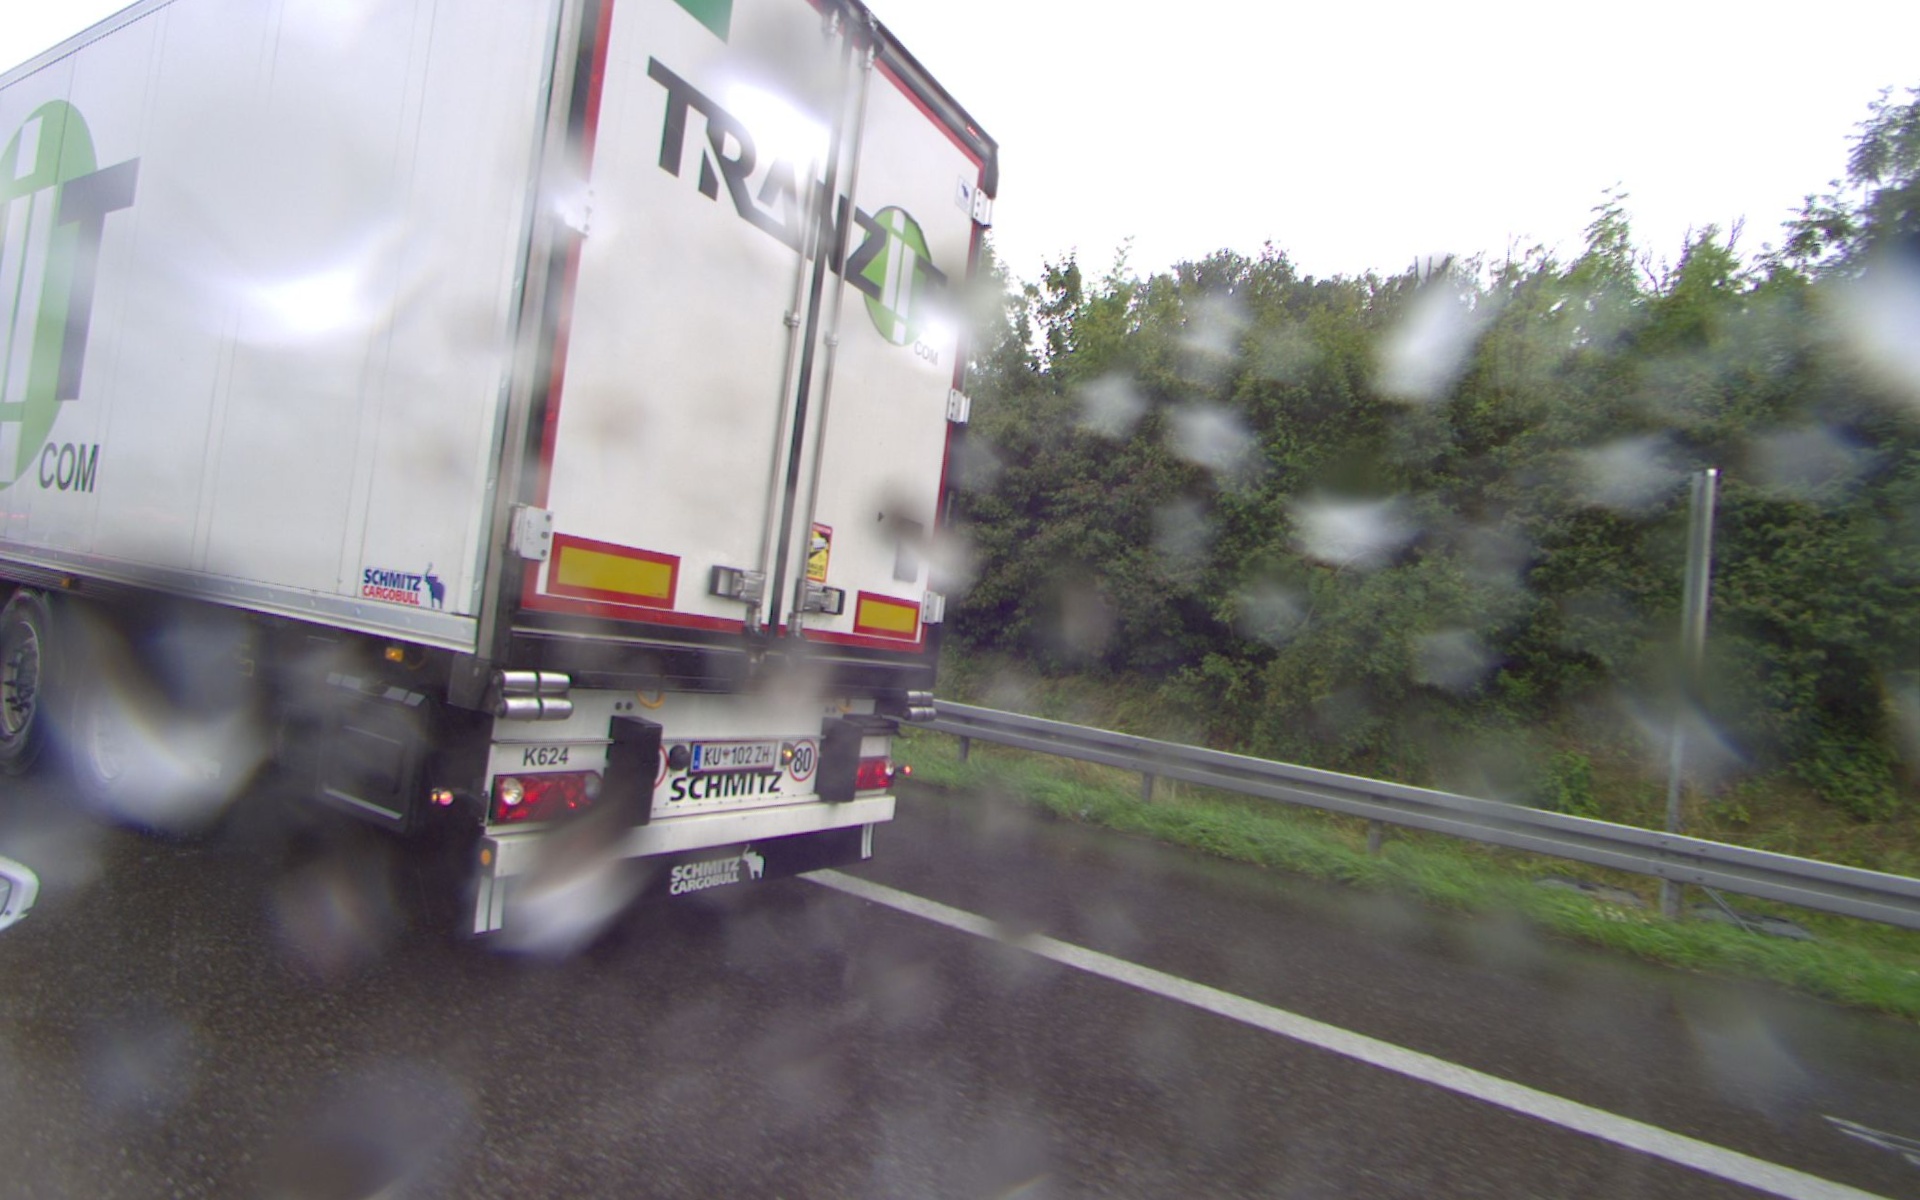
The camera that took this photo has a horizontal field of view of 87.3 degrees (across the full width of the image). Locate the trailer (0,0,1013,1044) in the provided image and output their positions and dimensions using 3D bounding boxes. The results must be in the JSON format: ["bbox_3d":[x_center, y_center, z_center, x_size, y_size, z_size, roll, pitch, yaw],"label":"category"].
[{"bbox_3d":[-6.710,-1.335,7.882,14.387,4.060,2.635,7,-1,32],"label":"trailer"}]

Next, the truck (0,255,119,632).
[{"bbox_3d":[-12.357,-1.931,11.430,4.712,3.873,2.635,7,-1,32],"label":"truck"}]
